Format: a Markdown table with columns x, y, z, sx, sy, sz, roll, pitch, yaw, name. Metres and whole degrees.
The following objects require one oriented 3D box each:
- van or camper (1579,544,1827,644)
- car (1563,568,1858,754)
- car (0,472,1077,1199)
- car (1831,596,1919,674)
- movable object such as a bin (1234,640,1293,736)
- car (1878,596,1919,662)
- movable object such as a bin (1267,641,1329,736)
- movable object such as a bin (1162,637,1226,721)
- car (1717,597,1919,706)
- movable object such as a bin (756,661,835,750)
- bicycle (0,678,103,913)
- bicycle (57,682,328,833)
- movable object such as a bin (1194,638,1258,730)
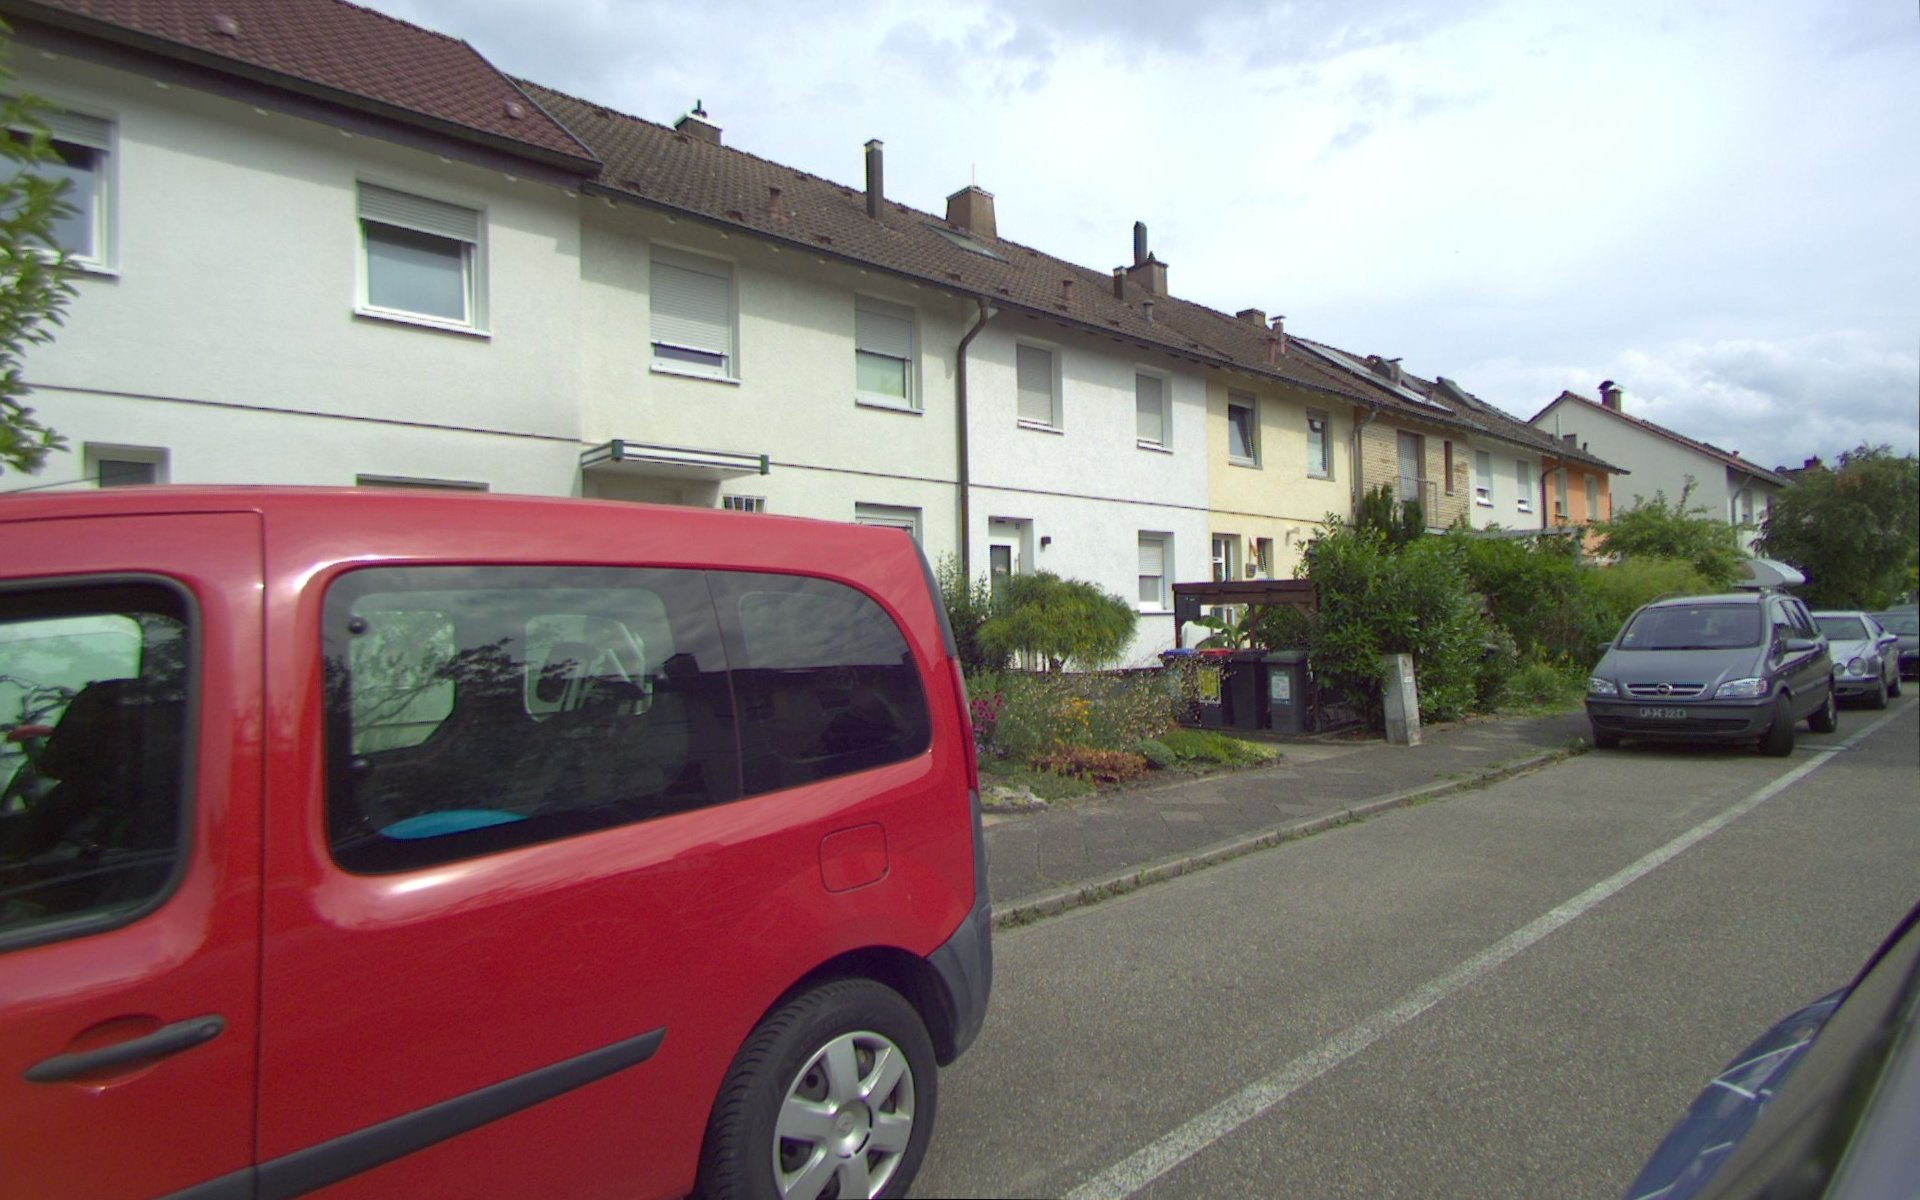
| x | y | z | sx | sy | sz | roll | pitch | yaw | name |
| --- | --- | --- | --- | --- | --- | --- | --- | --- | --- |
| 23.223 | -0.125 | 31.899 | 2.489 | 2.854 | 5.815 | 0 | -1 | -36 | van or camper |
| 8.514 | 0.570 | 11.324 | 4.389 | 1.675 | 1.869 | 0 | -2 | -43 | car |
| -1.841 | 0.681 | 2.007 | 4.338 | 1.672 | 1.811 | 0 | -1 | -45 | car |
| 19.122 | 0.665 | 20.544 | 4.057 | 1.446 | 1.734 | 0 | -2 | -43 | car |
| 3.668 | 1.044 | 12.207 | 0.369 | 1.080 | 0.840 | -1 | -1 | 40 | movable object such as a bin |
| 23.400 | 0.637 | 24.093 | 4.567 | 1.486 | 1.751 | 0 | -2 | -42 | car |
| 3.964 | 1.012 | 11.851 | 0.403 | 1.047 | 0.779 | -2 | -2 | 40 | movable object such as a bin |
| 3.001 | 0.987 | 12.942 | 0.425 | 1.000 | 0.875 | -1 | -1 | 41 | movable object such as a bin |
| 13.271 | 0.722 | 15.495 | 4.687 | 1.425 | 1.868 | 0 | -3 | -43 | car |
| -1.744 | 1.095 | 10.716 | 0.540 | 0.861 | 0.690 | -1 | -1 | -39 | movable object such as a bin |
| -4.751 | 0.912 | 5.126 | 0.551 | 0.920 | 1.879 | 0 | -1 | -42 | bicycle |
| -5.277 | 1.040 | 6.976 | 1.571 | 0.877 | 0.741 | -1 | -1 | 19 | bicycle |
| 3.316 | 1.020 | 12.588 | 0.417 | 1.065 | 0.874 | -1 | -1 | 42 | movable object such as a bin |
